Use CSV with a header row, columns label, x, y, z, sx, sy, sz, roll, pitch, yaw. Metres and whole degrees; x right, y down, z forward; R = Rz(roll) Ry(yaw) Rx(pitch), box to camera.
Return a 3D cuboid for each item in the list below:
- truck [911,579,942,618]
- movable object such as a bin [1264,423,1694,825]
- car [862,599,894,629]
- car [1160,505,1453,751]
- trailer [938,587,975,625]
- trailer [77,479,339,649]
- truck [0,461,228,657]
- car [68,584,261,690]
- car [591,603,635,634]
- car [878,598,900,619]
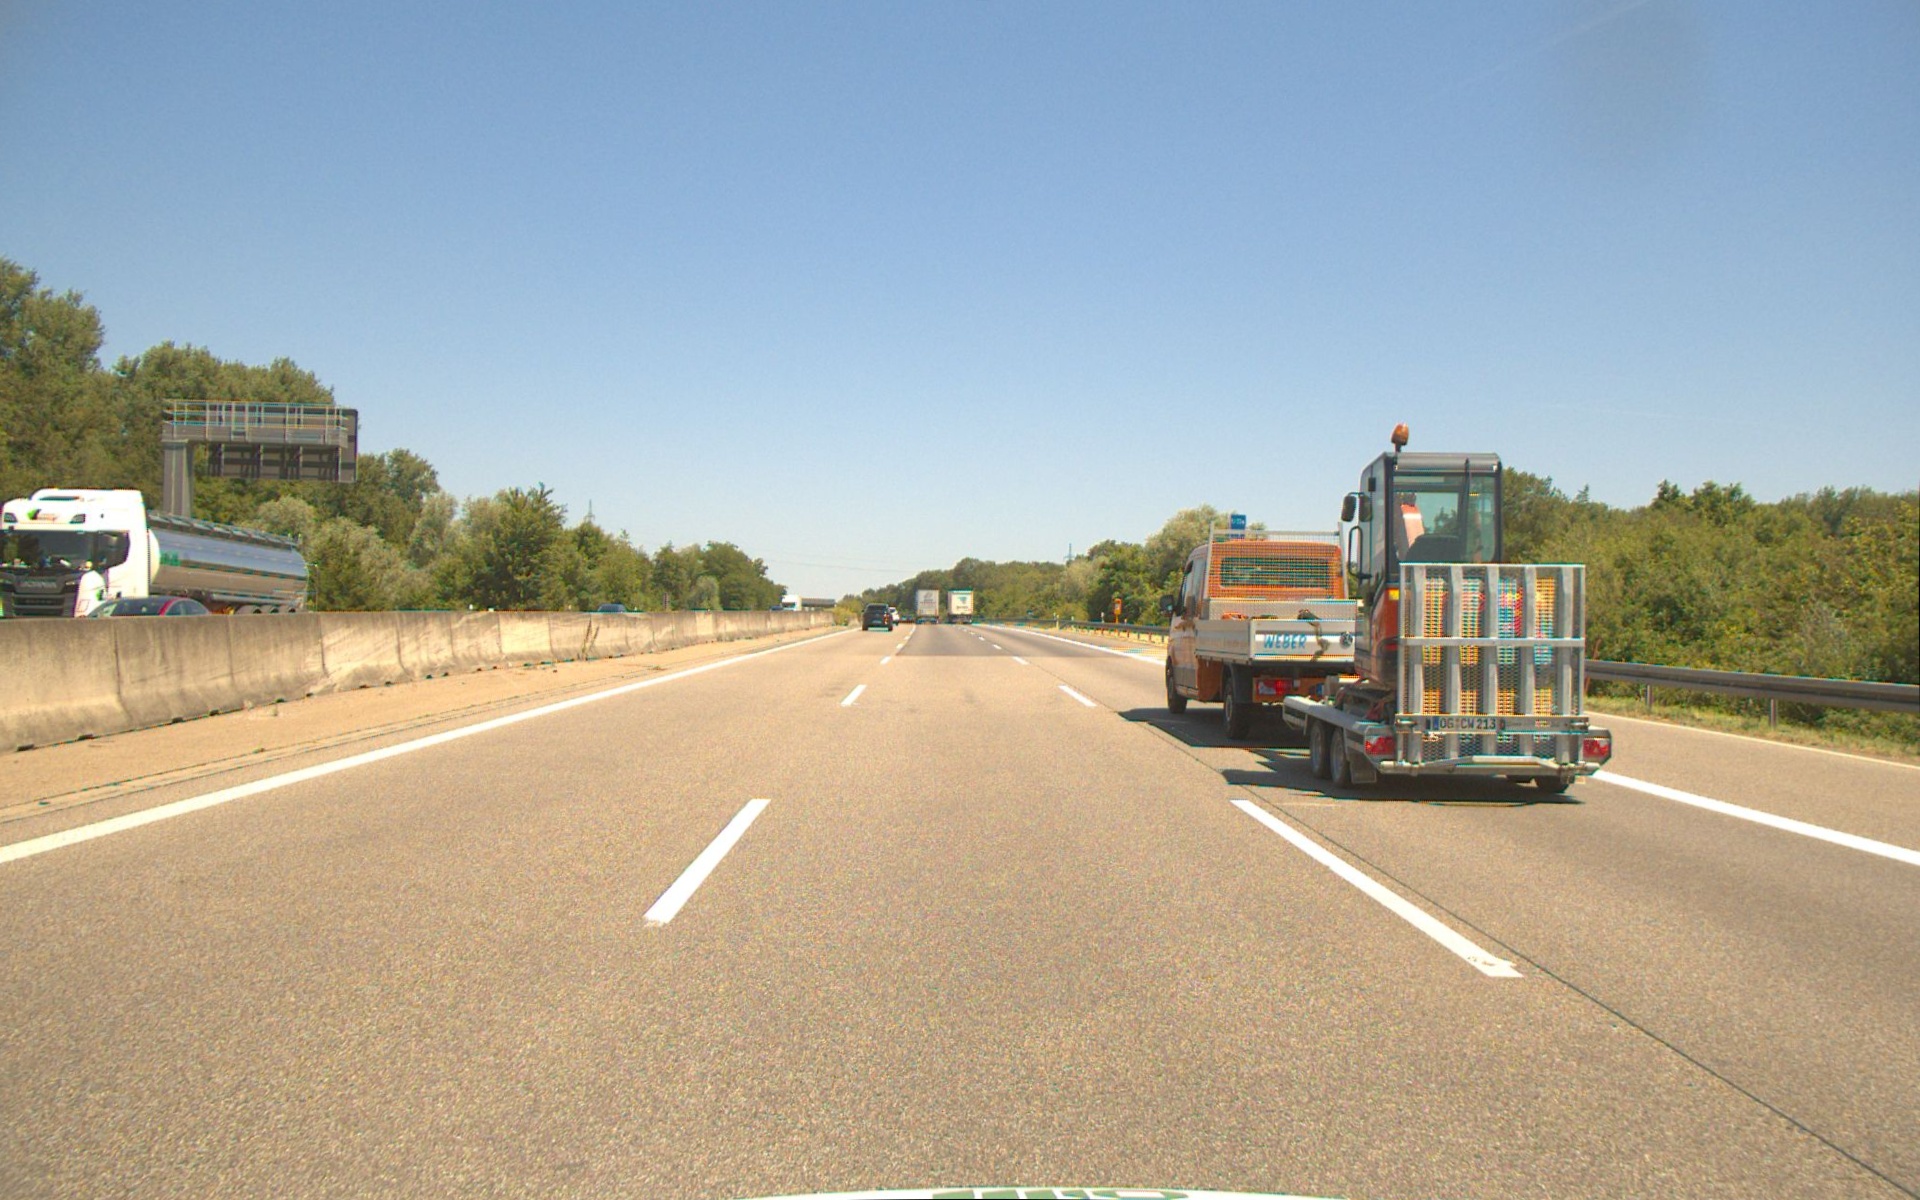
label,x,y,z,sx,sy,sz,roll,pitch,yaw
truck,-3.831,-0.170,189.118,3.165,4.275,8.462,3,0,-2
movable object such as a bin,4.188,0.184,14.317,2.130,2.865,4.760,1,0,-1
car,-5.333,0.887,108.093,1.953,1.907,3.999,1,0,-1
car,3.945,0.297,20.341,1.953,2.447,7.224,1,0,-1
trailer,-0.480,0.661,198.005,3.303,4.214,9.079,4,0,-6
trailer,-20.959,-0.900,47.024,2.751,4.117,10.426,4,0,-2
truck,-20.688,-0.914,39.683,2.751,4.117,7.727,4,0,-2
car,-16.643,0.729,34.867,1.953,2.049,4.573,1,0,-2
car,-23.173,1.223,110.681,1.952,2.049,4.429,1,0,0
car,-6.688,0.774,156.917,1.953,1.907,3.999,2,0,-2
